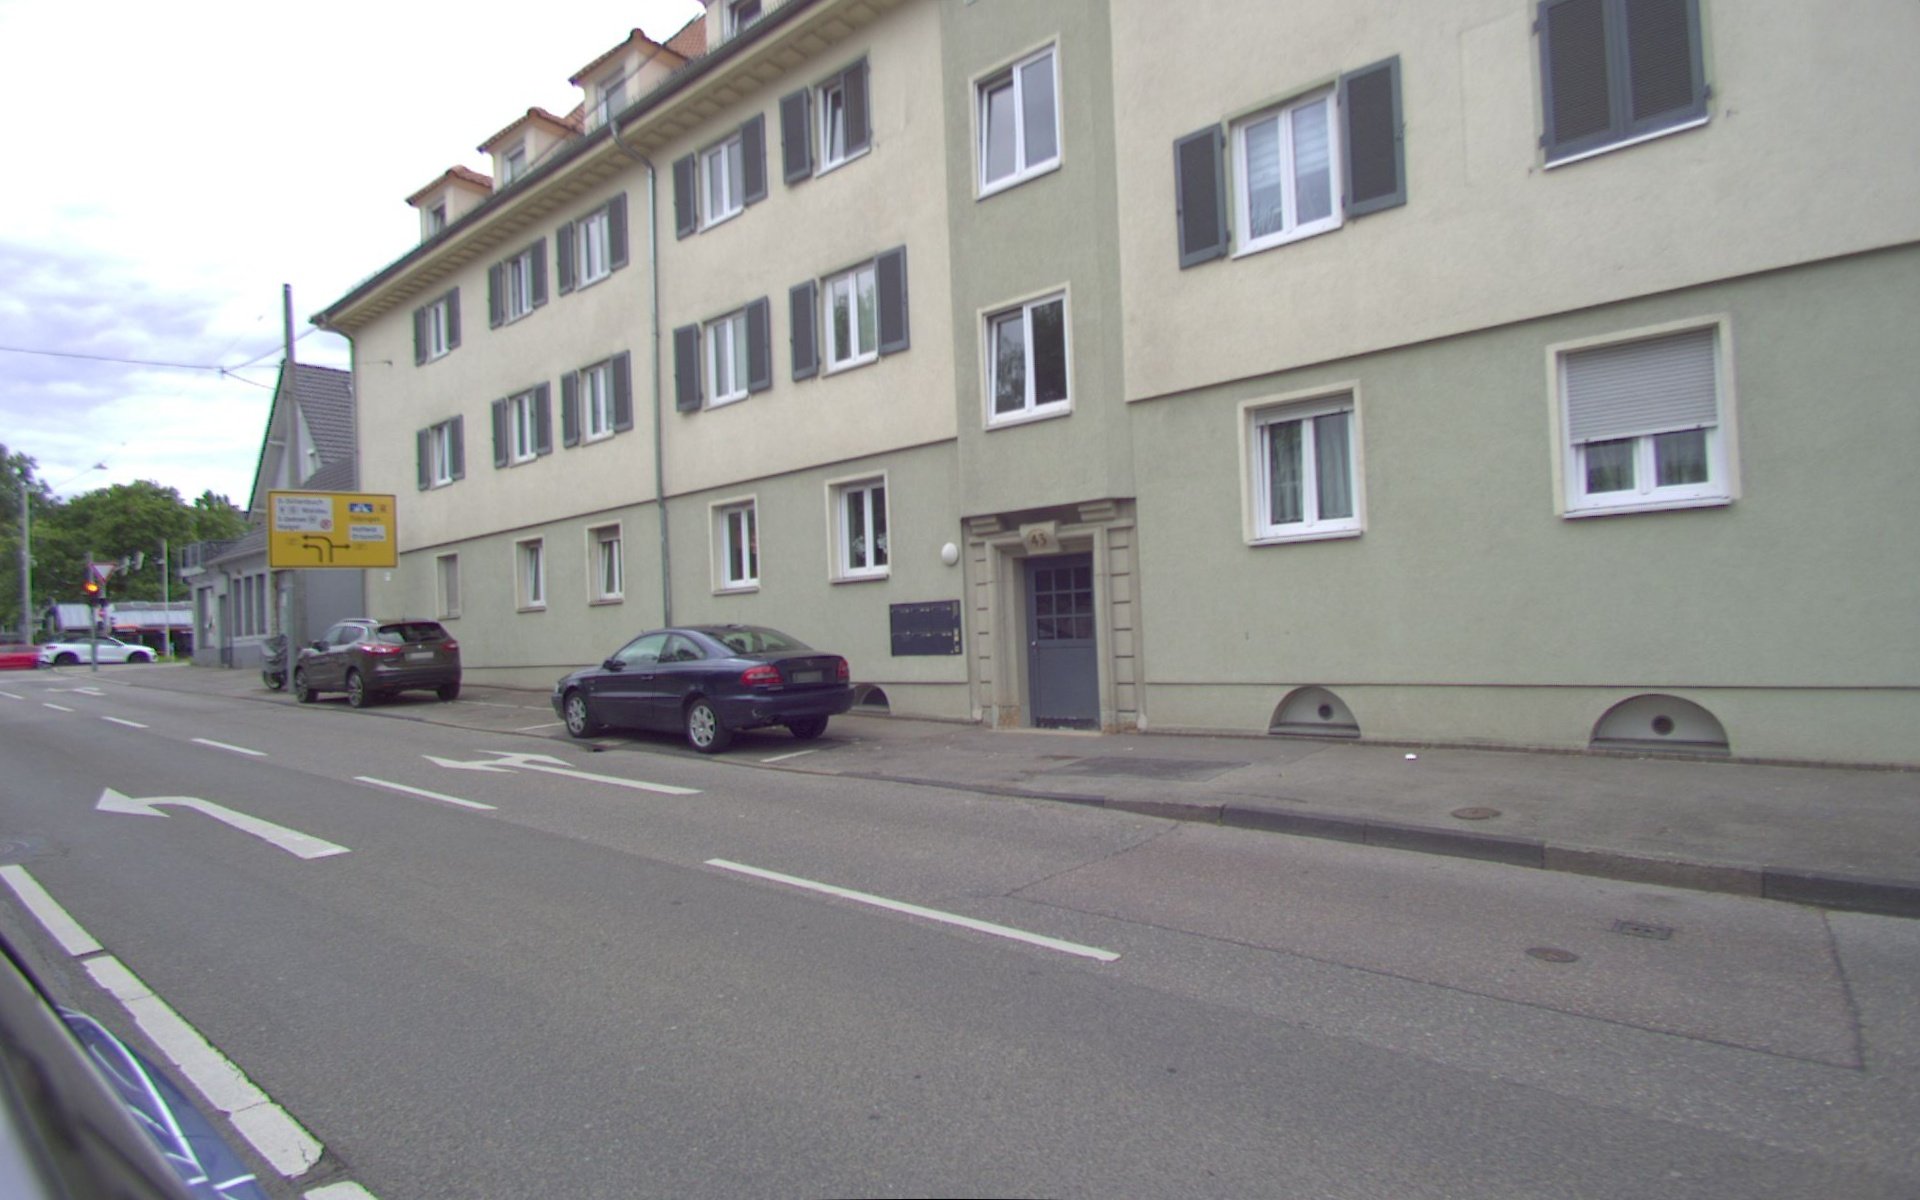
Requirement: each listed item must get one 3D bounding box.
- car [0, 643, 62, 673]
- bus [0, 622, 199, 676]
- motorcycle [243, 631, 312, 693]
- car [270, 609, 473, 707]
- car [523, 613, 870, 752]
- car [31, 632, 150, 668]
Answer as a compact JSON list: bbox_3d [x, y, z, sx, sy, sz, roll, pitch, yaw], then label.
[{"bbox_3d":[-47.836,2.901,50.754,1.776,1.420,3.951,-2,-2,36],"label":"car"},{"bbox_3d":[-56.171,3.090,64.825,2.000,3.086,11.689,-5,-4,43],"label":"bus"},{"bbox_3d":[-15.464,1.383,22.897,2.227,1.300,0.619,-2,0,39],"label":"motorcycle"},{"bbox_3d":[-11.500,1.076,19.645,4.690,1.645,1.804,-2,-1,39],"label":"car"},{"bbox_3d":[-3.449,0.932,12.662,4.841,1.414,1.693,-2,-1,40],"label":"car"},{"bbox_3d":[-40.354,2.295,47.030,1.999,1.523,3.945,-2,-2,41],"label":"car"}]
